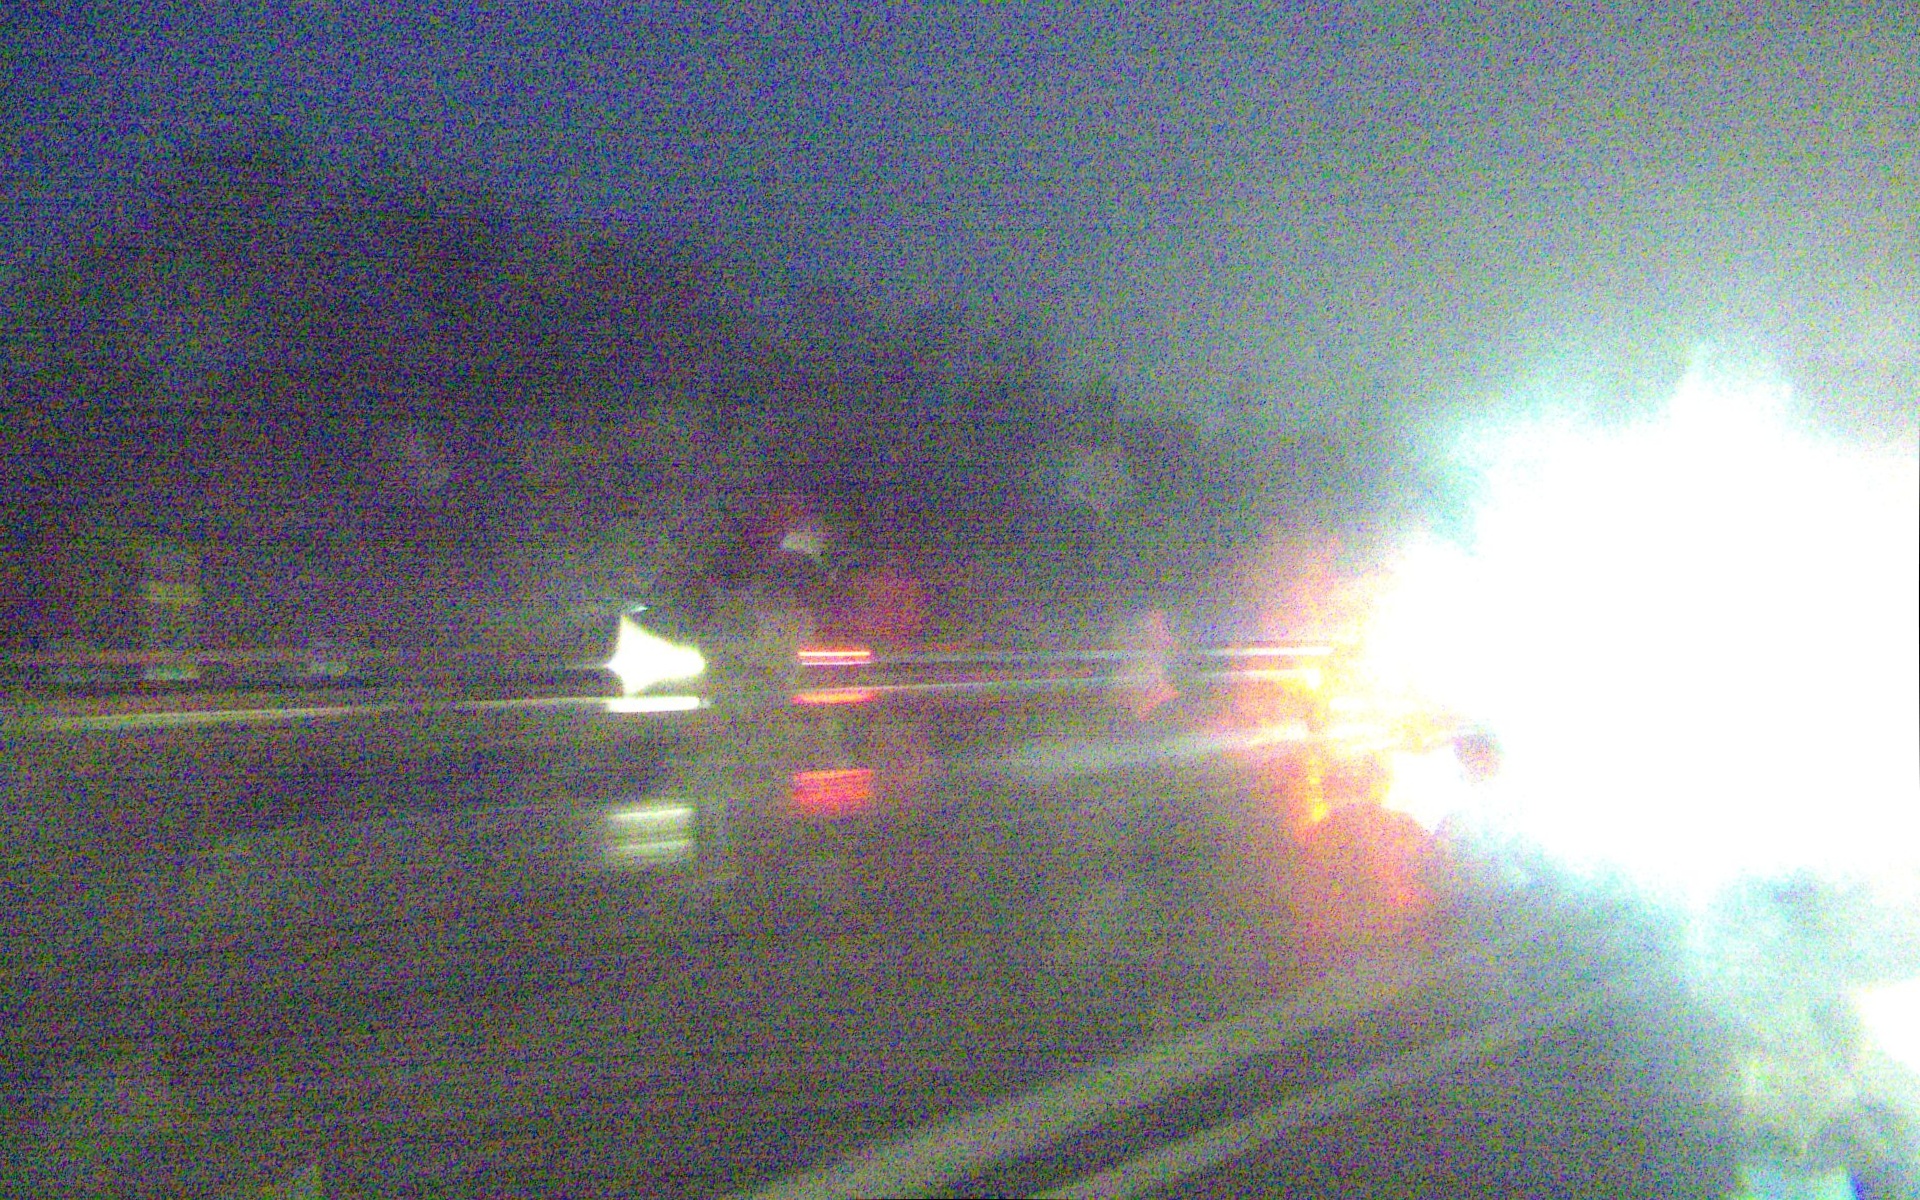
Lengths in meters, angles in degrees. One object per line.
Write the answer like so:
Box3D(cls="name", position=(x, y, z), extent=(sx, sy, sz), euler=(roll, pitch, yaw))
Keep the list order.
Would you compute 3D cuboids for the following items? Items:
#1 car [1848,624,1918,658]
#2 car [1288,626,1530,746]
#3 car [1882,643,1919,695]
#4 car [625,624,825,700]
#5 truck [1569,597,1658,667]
Box3D(cls="car", position=(44.321, 1.966, 48.190), extent=(4.872, 1.537, 1.754), euler=(2, -2, -39))
Box3D(cls="car", position=(6.810, 1.221, 15.107), extent=(3.812, 1.596, 1.638), euler=(2, -3, -36))
Box3D(cls="car", position=(28.010, 1.973, 28.697), extent=(4.016, 1.398, 1.946), euler=(3, -2, -40))
Box3D(cls="car", position=(-5.041, 1.325, 21.776), extent=(3.859, 1.493, 1.770), euler=(3, -4, -39))
Box3D(cls="truck", position=(40.166, 1.964, 61.634), extent=(3.362, 4.025, 7.416), euler=(-1, -2, 43))
